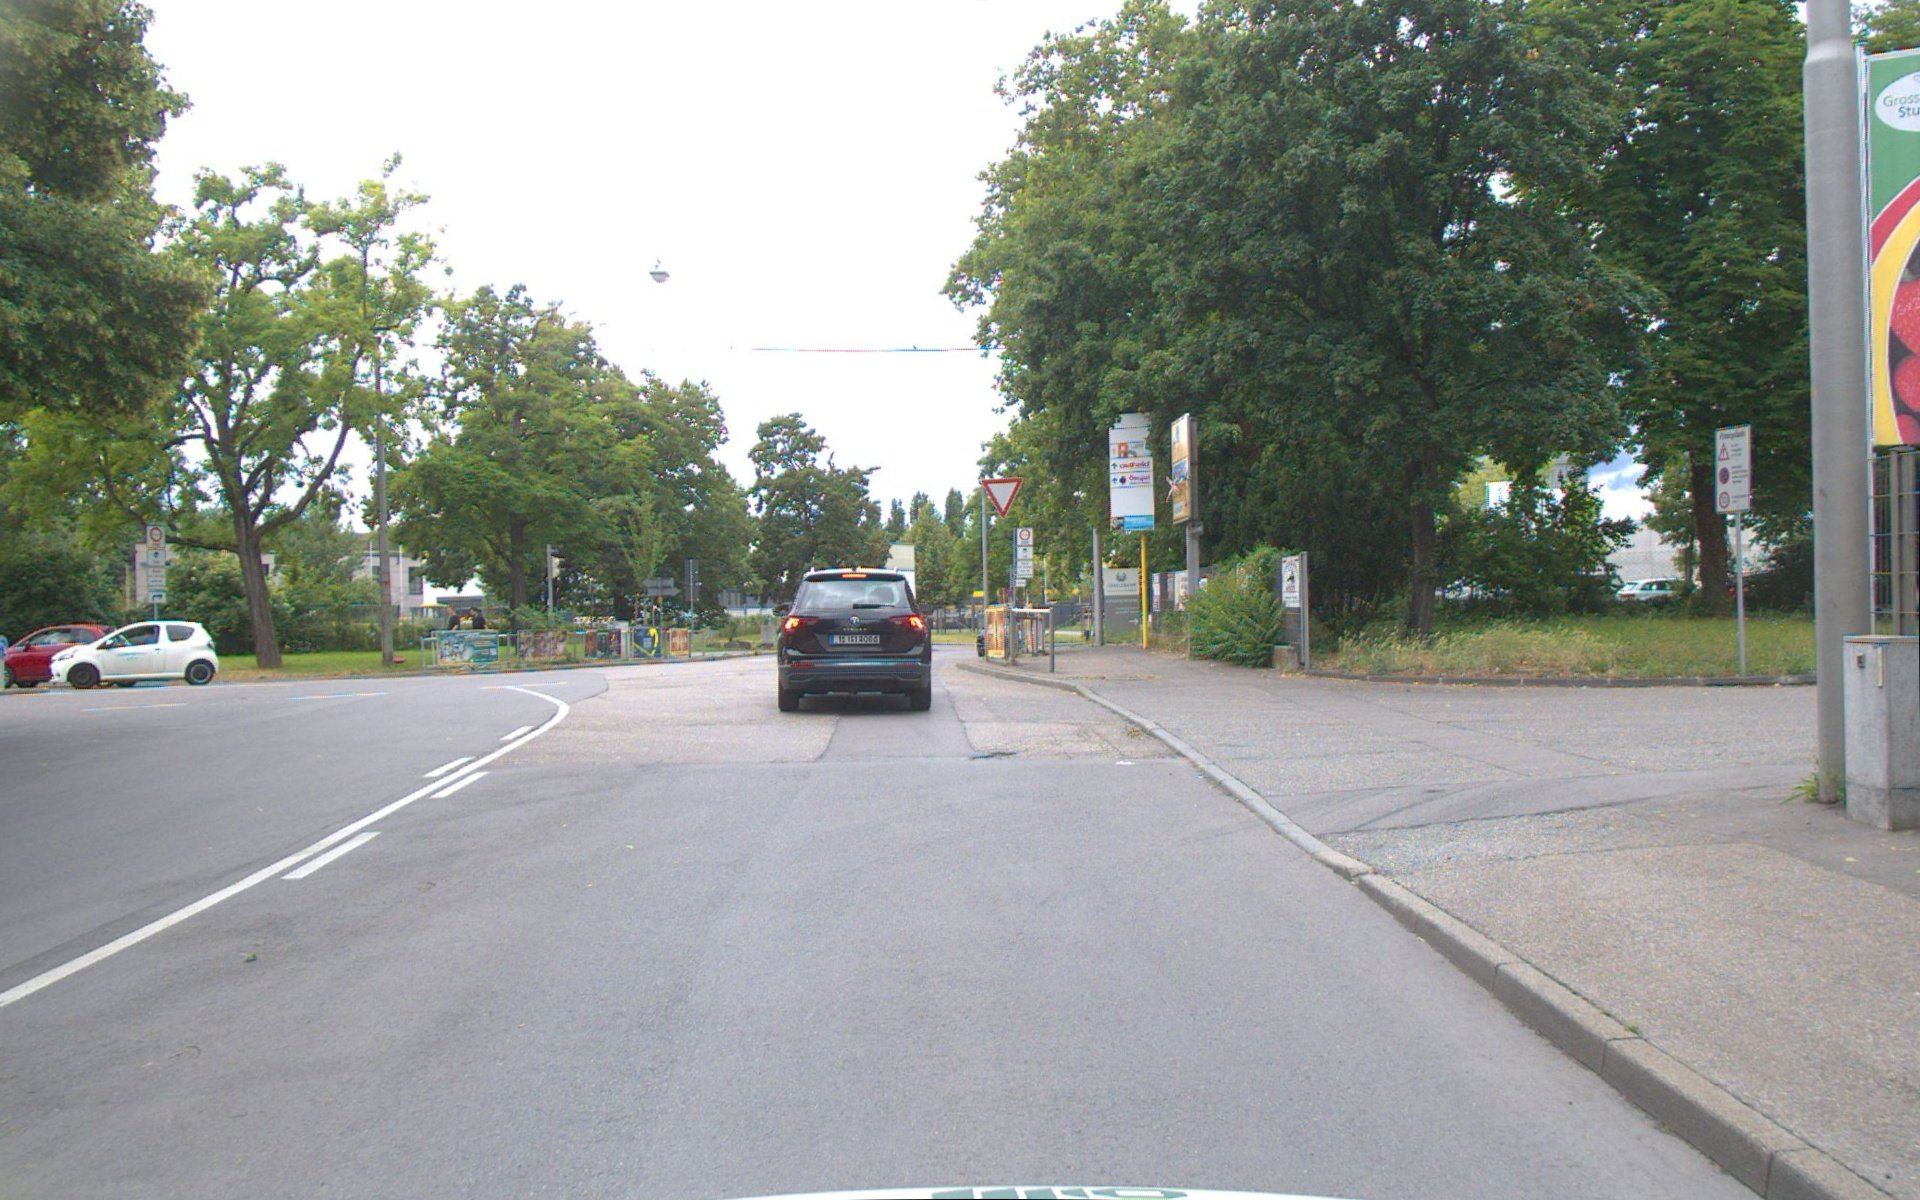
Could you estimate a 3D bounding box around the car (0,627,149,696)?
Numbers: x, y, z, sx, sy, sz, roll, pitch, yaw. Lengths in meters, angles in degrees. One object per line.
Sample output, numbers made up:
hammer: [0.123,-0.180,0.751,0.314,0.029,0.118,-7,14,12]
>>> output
car: [-21.585,1.472,39.819,3.332,1.504,1.637,-2,0,-11]

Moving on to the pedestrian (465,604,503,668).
pedestrian: [-13.530,1.028,46.995,0.729,1.772,0.724,-2,0,39]

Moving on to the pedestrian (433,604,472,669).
pedestrian: [-14.121,1.004,46.003,0.729,1.772,0.724,-2,0,39]

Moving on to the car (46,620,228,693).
car: [-18.479,1.232,37.153,3.567,1.434,1.724,-2,0,-30]

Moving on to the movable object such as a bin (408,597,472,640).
movable object such as a bin: [-26.137,0.899,83.155,1.952,2.049,2.400,-2,0,20]

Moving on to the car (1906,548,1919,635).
car: [20.359,-0.231,31.260,3.864,1.675,1.831,-2,0,4]

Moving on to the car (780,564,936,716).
car: [-1.281,0.427,20.003,1.705,1.646,3.637,0,0,-5]

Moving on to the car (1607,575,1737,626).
car: [25.613,0.004,59.571,3.864,1.675,1.831,-2,0,4]

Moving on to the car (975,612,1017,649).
car: [1.757,1.425,78.651,1.624,1.601,3.831,-3,0,6]
